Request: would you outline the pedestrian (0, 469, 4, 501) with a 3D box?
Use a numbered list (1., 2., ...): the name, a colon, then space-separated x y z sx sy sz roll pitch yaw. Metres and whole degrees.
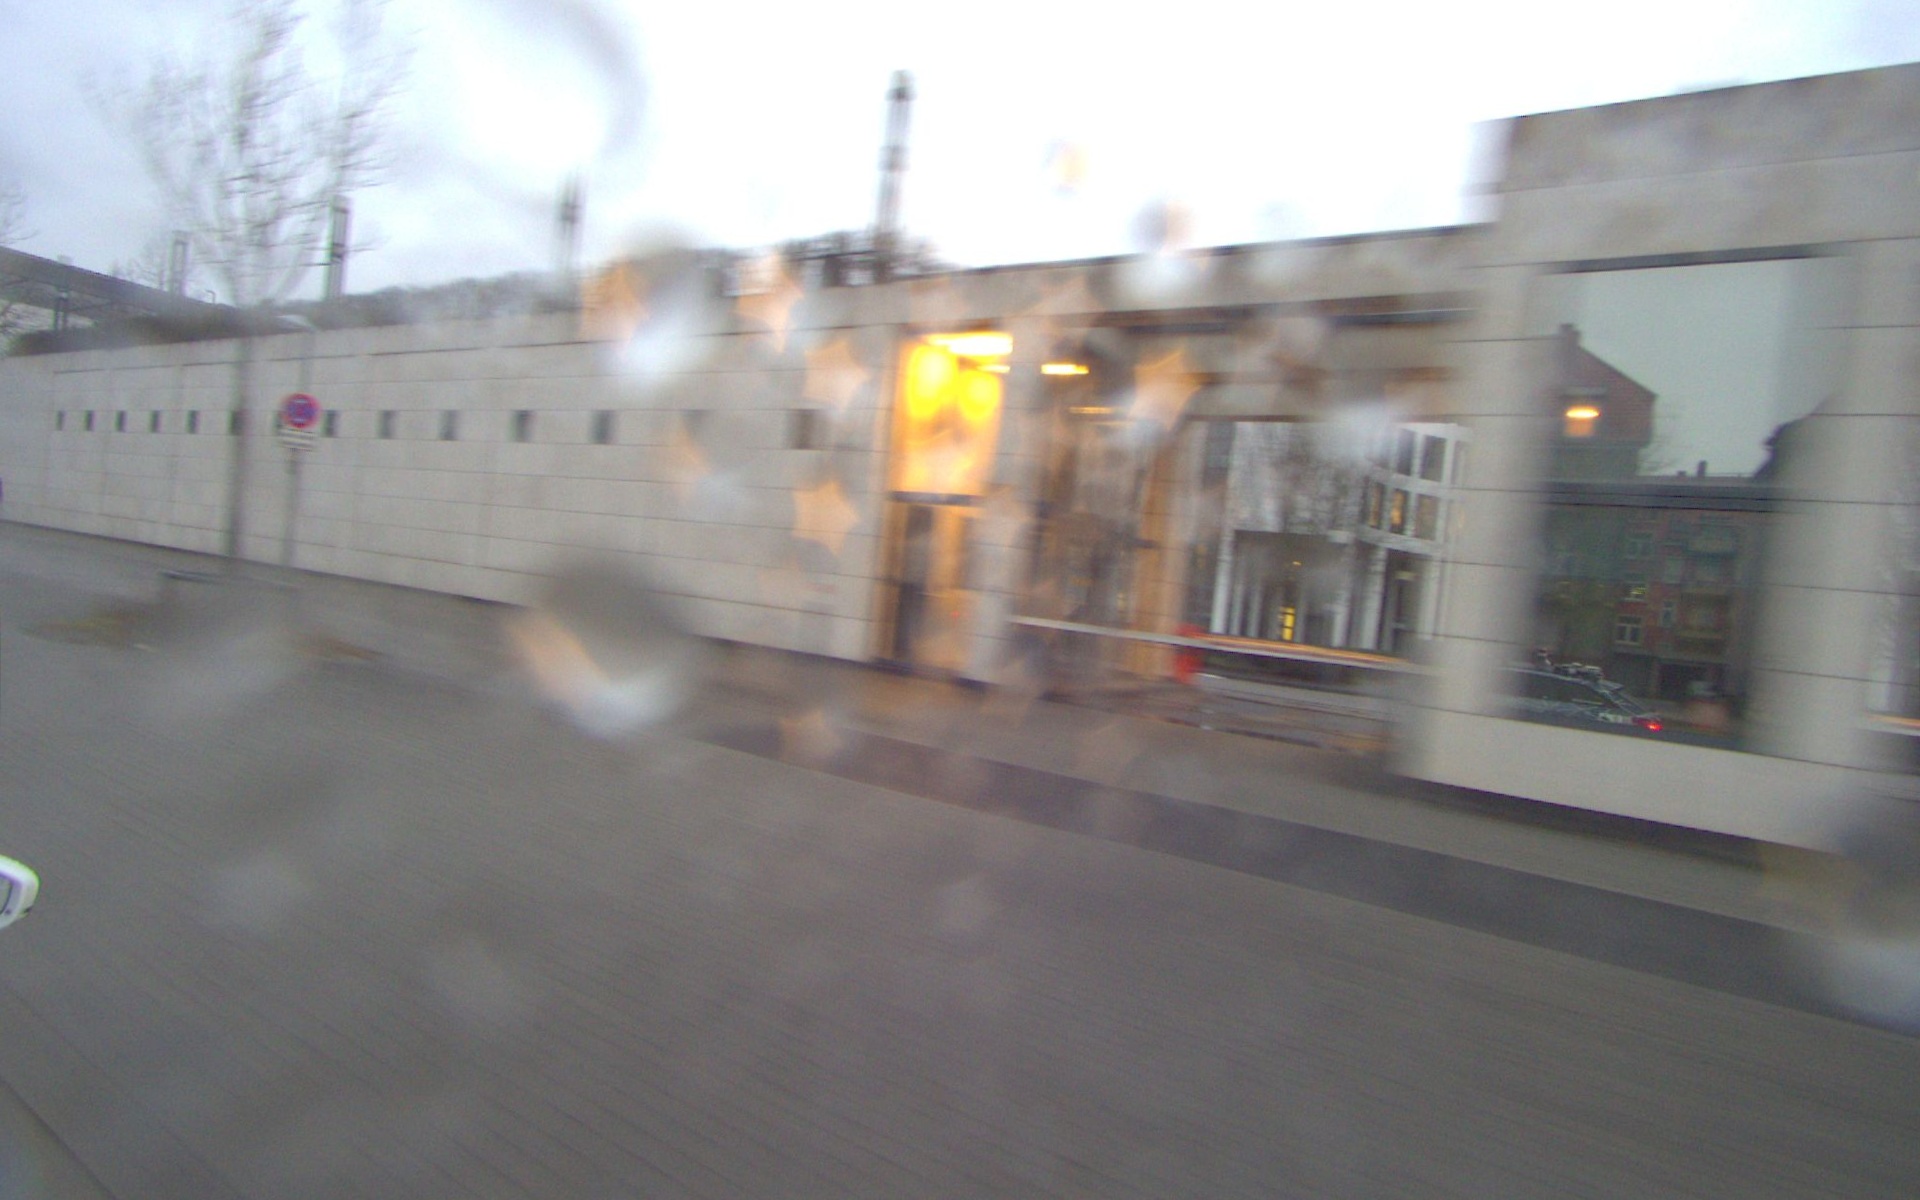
1. pedestrian: -28.198 -2.932 29.065 0.671 1.799 0.606 7 -1 -45
